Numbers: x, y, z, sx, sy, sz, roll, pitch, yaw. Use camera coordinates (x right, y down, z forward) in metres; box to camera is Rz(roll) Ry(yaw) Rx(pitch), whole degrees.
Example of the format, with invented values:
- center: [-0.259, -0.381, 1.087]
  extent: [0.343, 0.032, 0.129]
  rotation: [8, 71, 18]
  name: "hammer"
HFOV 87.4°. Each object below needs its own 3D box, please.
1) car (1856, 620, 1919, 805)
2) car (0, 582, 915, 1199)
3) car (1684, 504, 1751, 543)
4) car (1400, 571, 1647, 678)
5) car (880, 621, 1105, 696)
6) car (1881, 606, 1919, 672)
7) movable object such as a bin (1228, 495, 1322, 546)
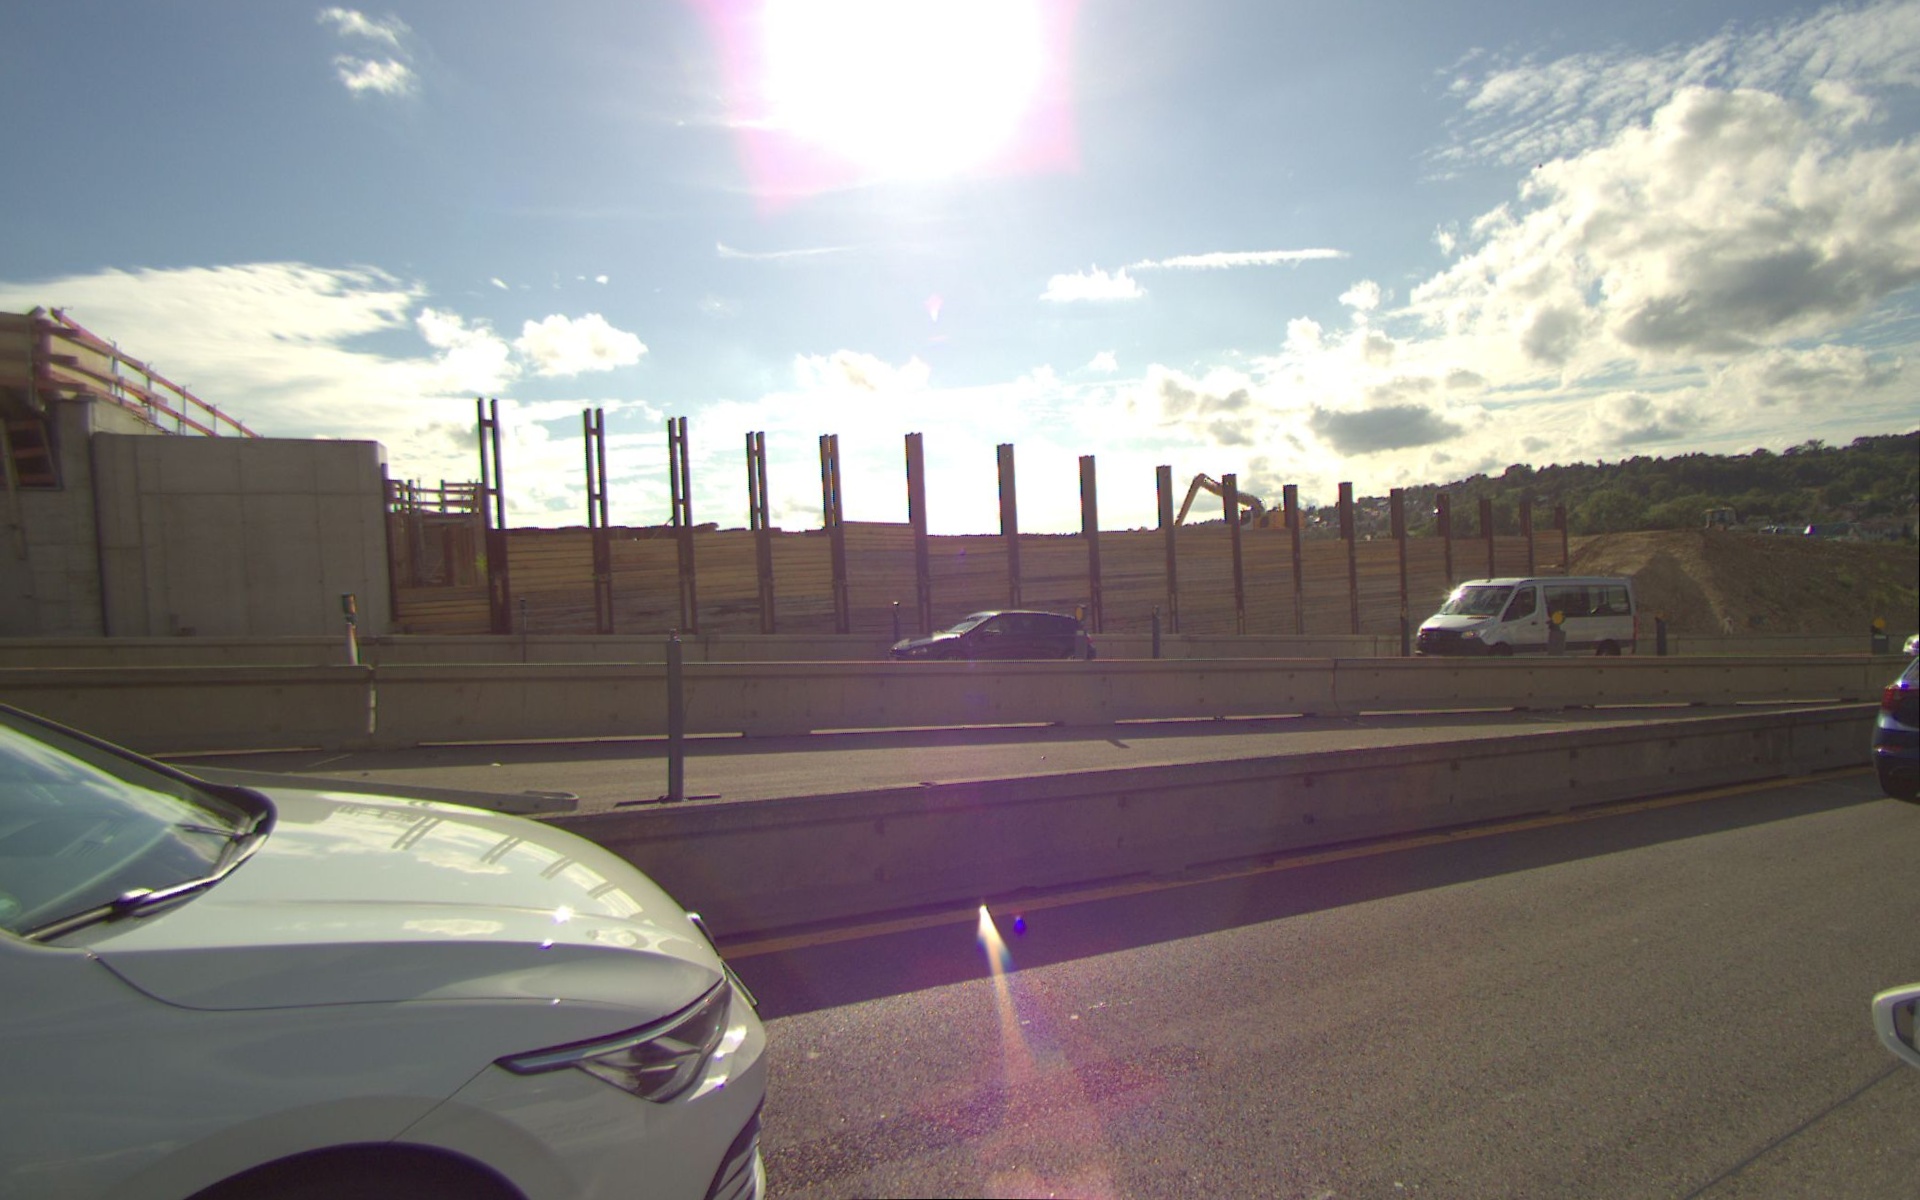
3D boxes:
- center: [9.455, 0.928, 8.504]
  extent: [3.955, 1.441, 1.713]
  rotation: [1, 0, -31]
  name: "car"
- center: [-2.459, 0.721, 1.565]
  extent: [4.461, 1.510, 1.763]
  rotation: [2, -2, -29]
  name: "car"
- center: [54.248, -5.426, 71.899]
  extent: [5.262, 2.167, 1.984]
  rotation: [2, -5, -32]
  name: "car"
- center: [14.017, 0.627, 24.967]
  extent: [5.783, 2.434, 2.253]
  rotation: [2, 0, -23]
  name: "car"
- center: [0.607, 1.079, 19.476]
  extent: [3.940, 1.290, 1.917]
  rotation: [0, 0, -21]
  name: "car"
- center: [26.772, 1.018, 26.559]
  extent: [4.214, 1.696, 2.119]
  rotation: [0, 0, -25]
  name: "car"
- center: [24.371, -6.076, 78.067]
  extent: [4.440, 3.314, 5.741]
  rotation: [2, 0, -19]
  name: "movable object such as a bin"
